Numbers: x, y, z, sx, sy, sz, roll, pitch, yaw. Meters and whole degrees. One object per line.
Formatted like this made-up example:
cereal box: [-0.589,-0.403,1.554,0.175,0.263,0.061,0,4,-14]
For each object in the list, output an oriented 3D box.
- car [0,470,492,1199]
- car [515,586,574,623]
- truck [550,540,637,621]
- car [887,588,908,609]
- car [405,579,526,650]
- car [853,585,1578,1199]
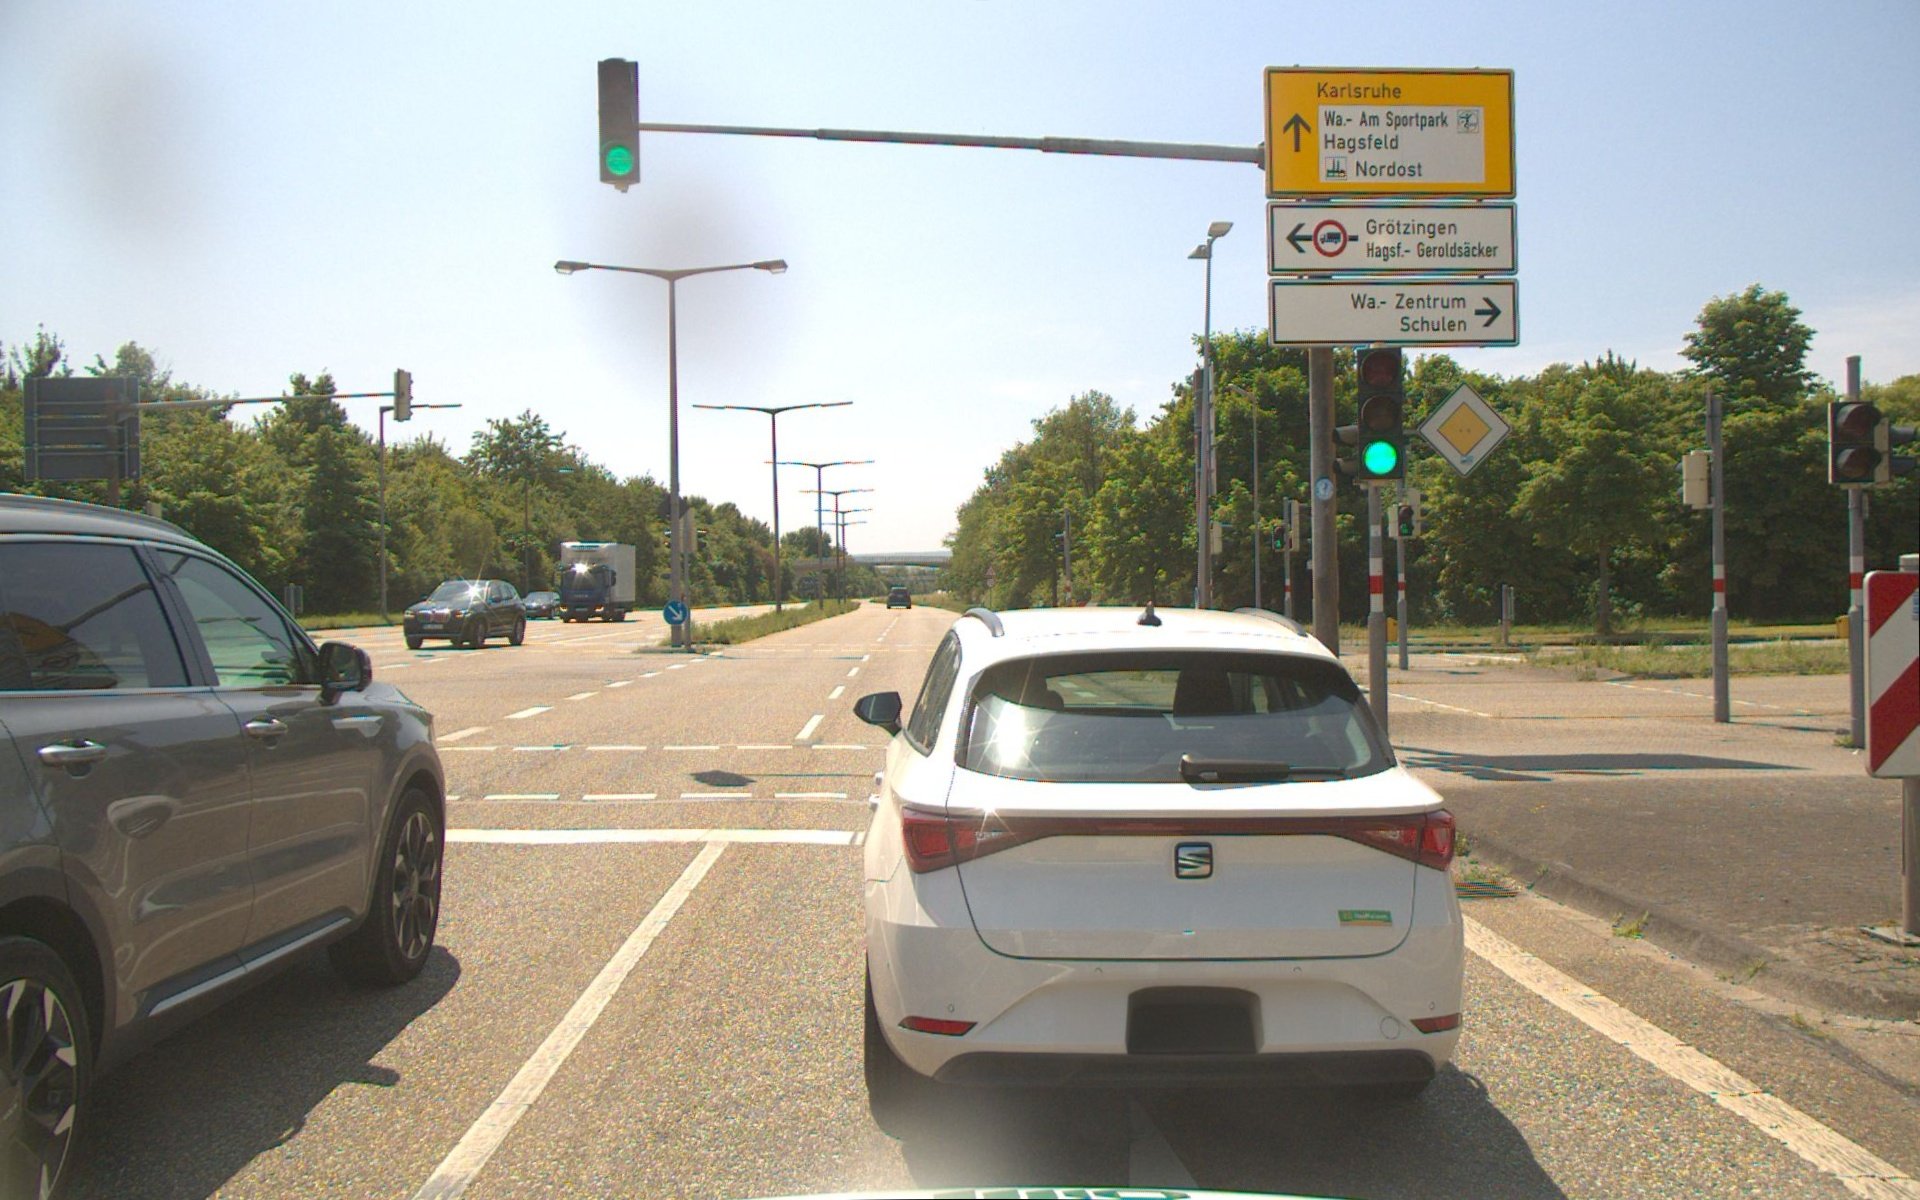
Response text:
car: [-2.857,0.586,4.732,1.767,1.691,4.643,-1,0,-1]
car: [-20.837,0.189,83.178,1.785,1.762,4.925,-1,0,-1]
truck: [-17.147,-0.914,77.813,2.633,3.633,7.265,0,0,-1]
car: [-5.398,-0.164,143.224,1.817,1.738,3.999,-1,0,-2]
car: [-12.577,0.329,42.340,1.671,1.692,4.224,-1,1,2]
car: [0.581,0.715,5.750,1.699,1.453,3.693,1,0,-1]
